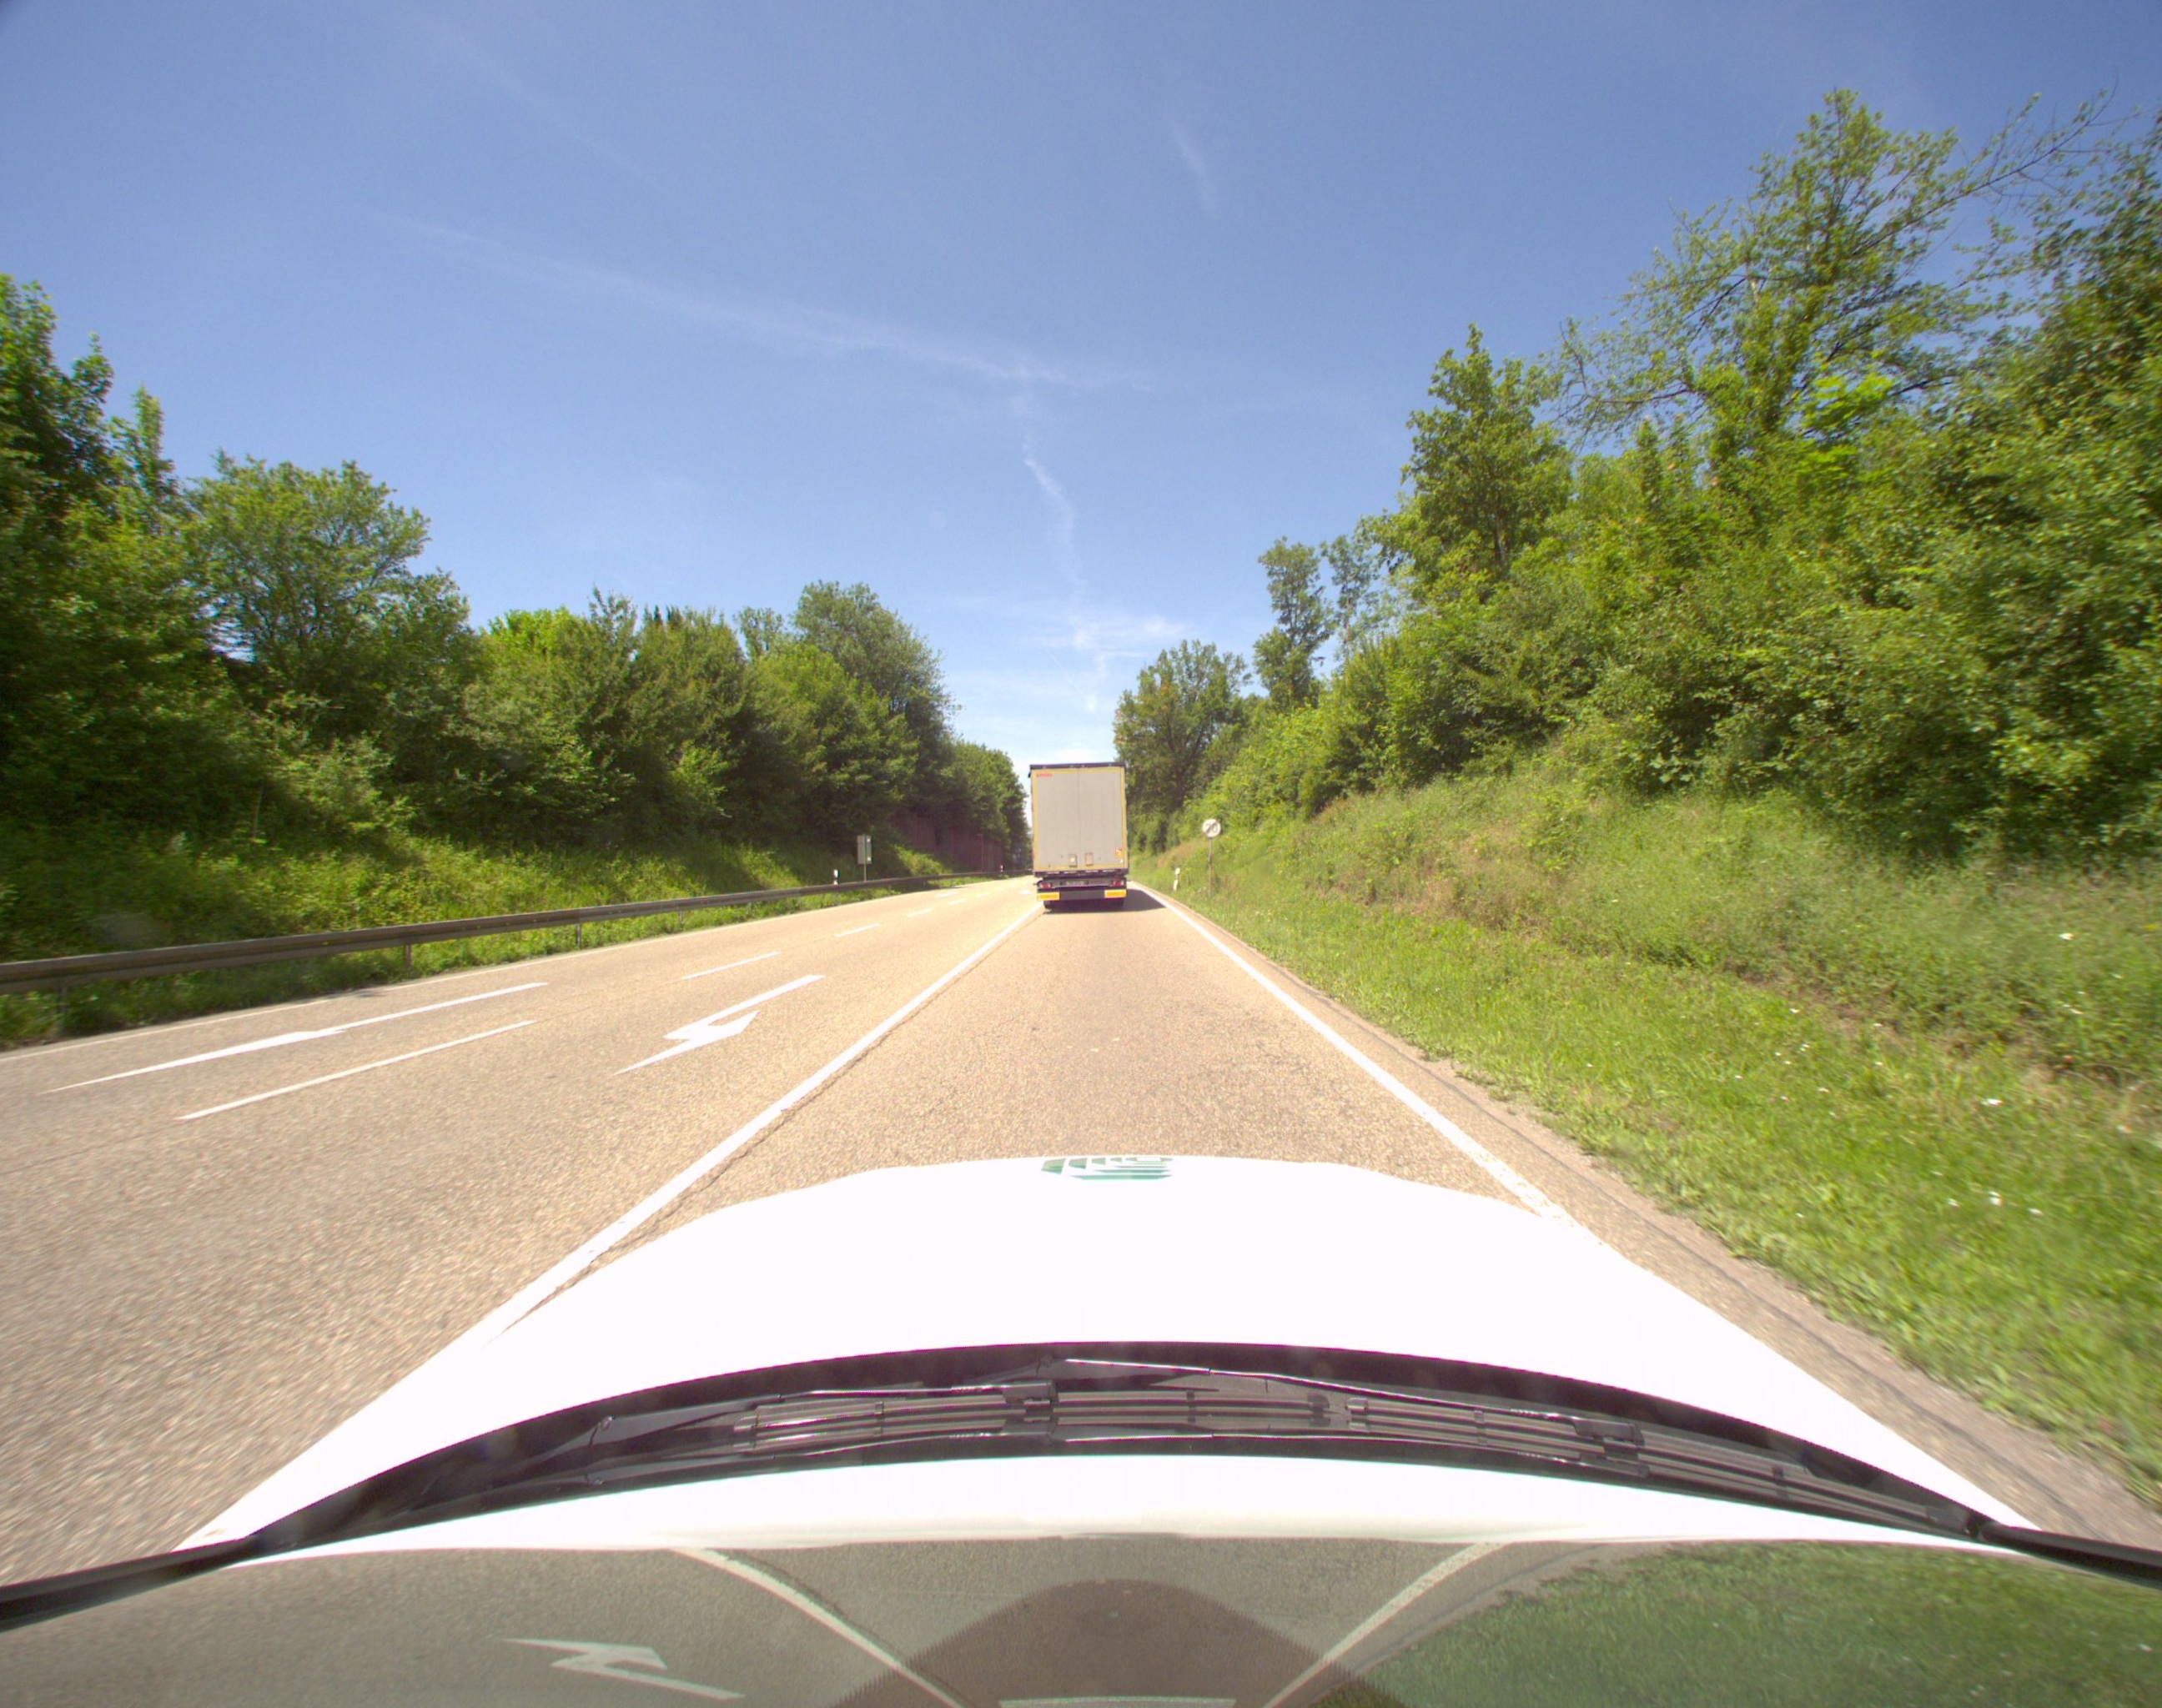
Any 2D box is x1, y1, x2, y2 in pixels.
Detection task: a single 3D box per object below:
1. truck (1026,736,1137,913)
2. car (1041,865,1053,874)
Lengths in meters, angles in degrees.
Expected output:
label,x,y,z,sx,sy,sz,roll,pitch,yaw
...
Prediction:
label,x,y,z,sx,sy,sz,roll,pitch,yaw
truck,0.075,-0.808,24.876,2.812,4.603,6.667,-2,0,1
car,-6.013,2.793,144.804,1.804,1.435,3.862,-2,0,-7
